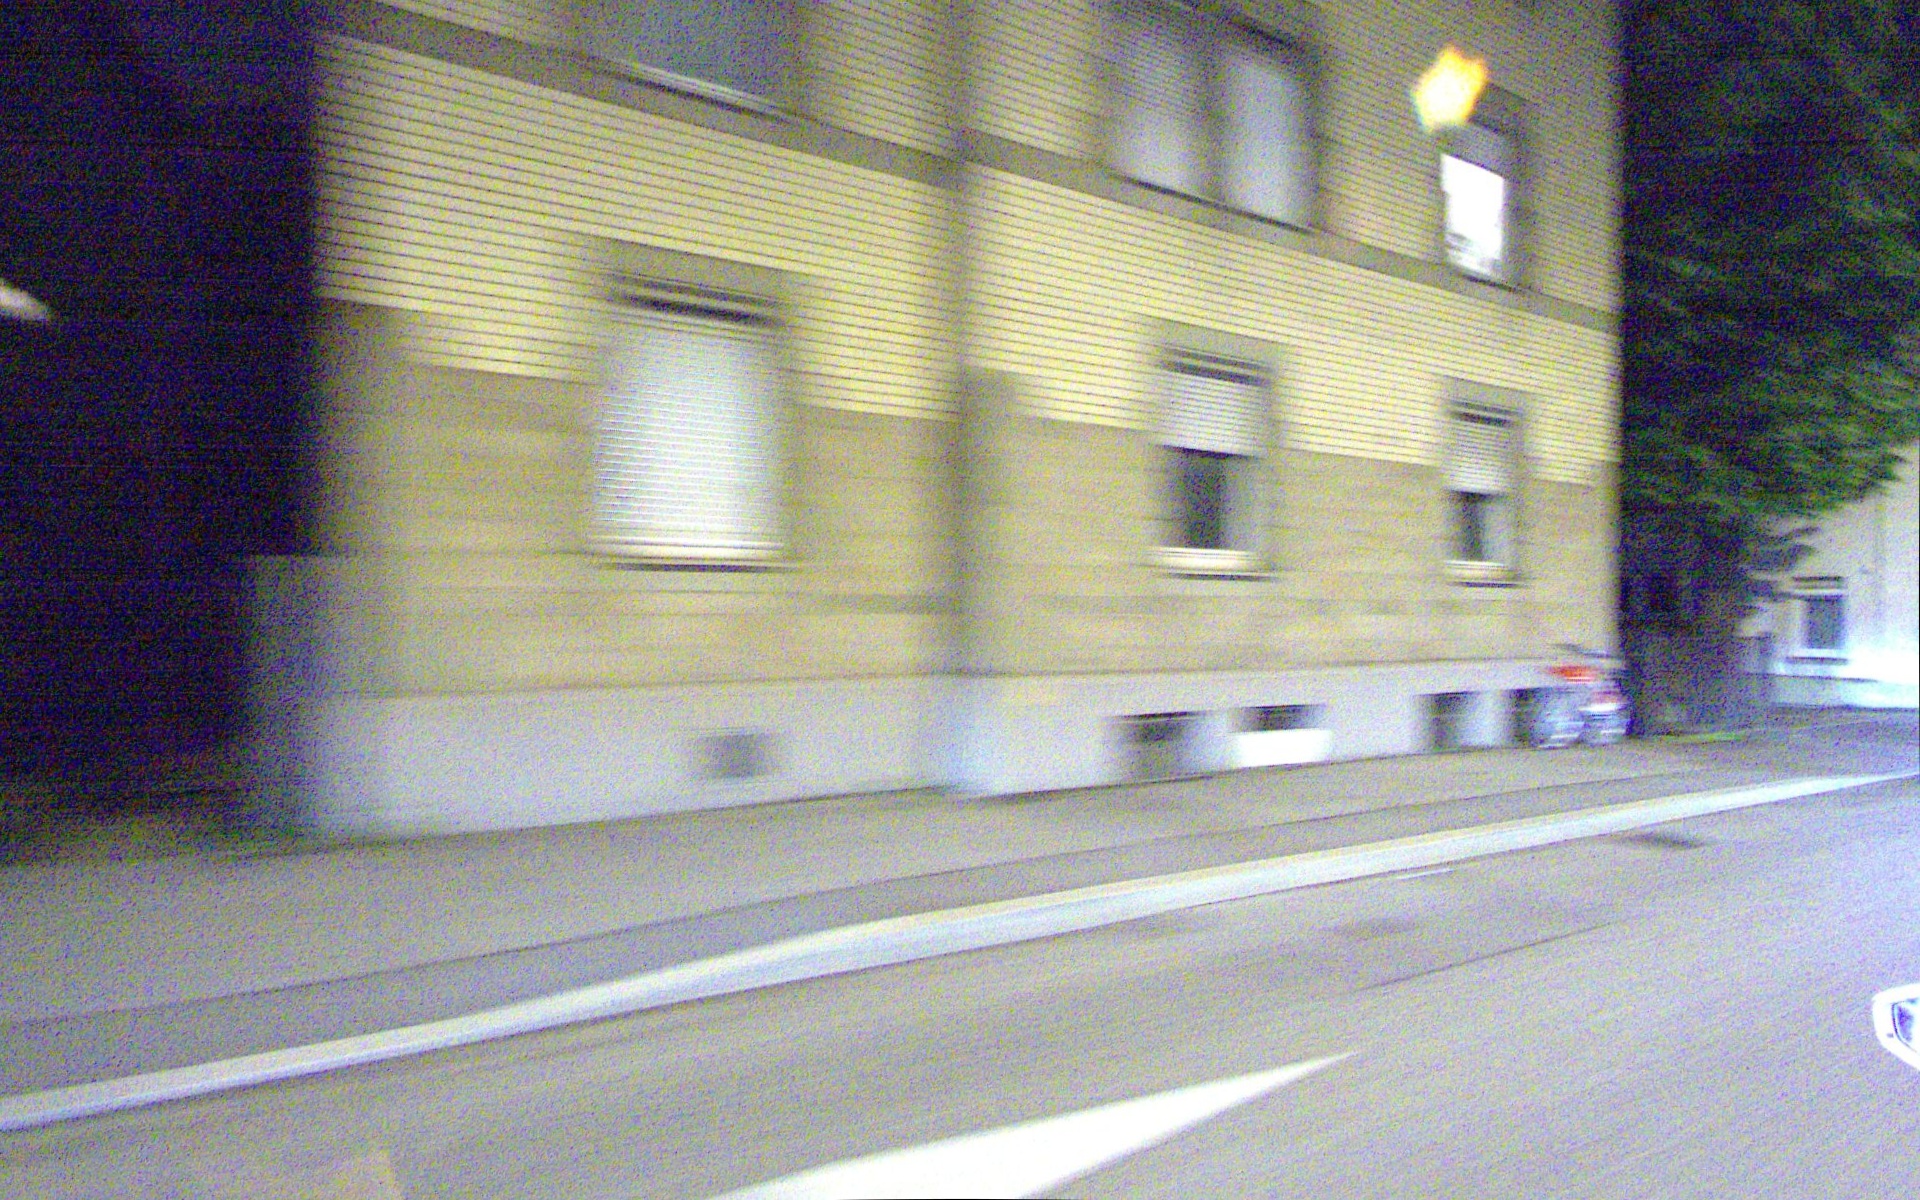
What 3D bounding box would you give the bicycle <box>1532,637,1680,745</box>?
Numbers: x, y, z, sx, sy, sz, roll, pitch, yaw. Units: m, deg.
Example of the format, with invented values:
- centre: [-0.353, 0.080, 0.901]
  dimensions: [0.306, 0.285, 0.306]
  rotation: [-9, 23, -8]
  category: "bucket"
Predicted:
- centre: [6.976, 0.949, 10.826]
  dimensions: [1.701, 1.065, 0.616]
  rotation: [2, -1, -30]
  category: "bicycle"
